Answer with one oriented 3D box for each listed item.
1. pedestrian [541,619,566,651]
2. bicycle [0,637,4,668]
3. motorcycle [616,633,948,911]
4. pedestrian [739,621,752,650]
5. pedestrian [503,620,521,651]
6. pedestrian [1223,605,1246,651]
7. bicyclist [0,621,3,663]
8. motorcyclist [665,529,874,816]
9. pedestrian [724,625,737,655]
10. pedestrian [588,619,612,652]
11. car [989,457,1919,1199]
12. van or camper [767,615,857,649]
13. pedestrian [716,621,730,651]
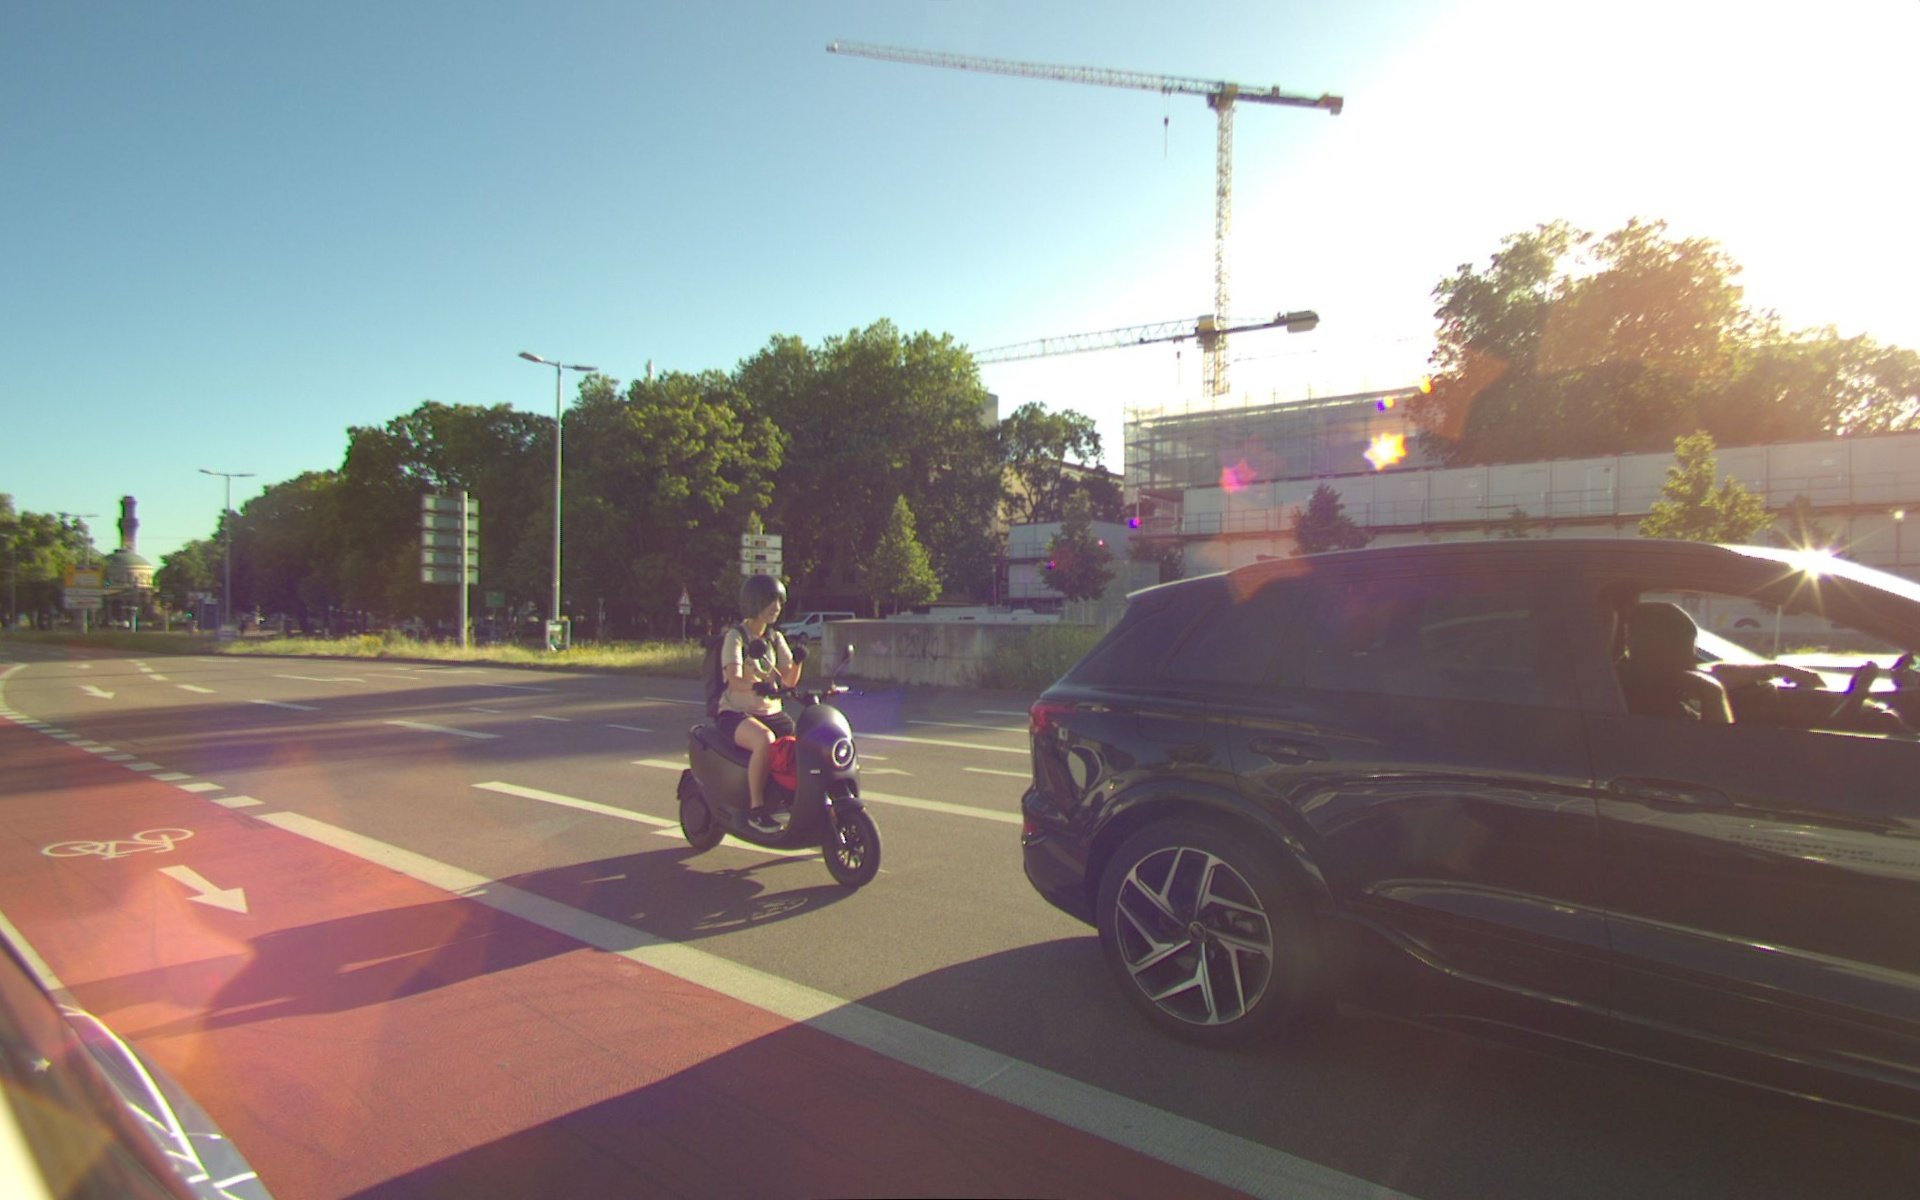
[{"bbox_3d":[-25.485,2.188,63.460,1.054,1.978,0.942,-1,0,26],"label":"pedestrian"},{"bbox_3d":[-39.250,2.124,40.925,1.505,1.201,0.680,-1,-2,41],"label":"bicycle"},{"bbox_3d":[-1.059,0.843,5.730,1.943,1.290,0.817,-1,-2,41],"label":"motorcycle"},{"bbox_3d":[-11.258,1.861,53.162,0.494,1.522,0.492,-1,-2,41],"label":"pedestrian"},{"bbox_3d":[-29.622,2.352,66.931,0.827,2.029,0.958,-1,0,-6],"label":"pedestrian"},{"bbox_3d":[9.823,1.002,36.226,0.597,1.614,0.580,-1,0,38],"label":"pedestrian"},{"bbox_3d":[-39.229,1.696,40.922,0.877,1.671,0.666,-1,-2,41],"label":"bicyclist"},{"bbox_3d":[-1.086,0.384,5.795,0.877,1.475,0.813,-1,-2,41],"label":"motorcyclist"},{"bbox_3d":[-11.892,2.059,52.467,0.494,1.522,0.492,-1,-2,41],"label":"pedestrian"},{"bbox_3d":[-21.719,2.125,61.099,0.815,1.978,1.111,-1,0,41],"label":"pedestrian"},{"bbox_3d":[2.582,0.550,3.150,4.661,1.720,2.143,-1,-1,40],"label":"car"},{"bbox_3d":[-8.967,1.929,61.891,1.951,1.960,5.425,-2,-2,44],"label":"van or camper"},{"bbox_3d":[-12.139,1.852,51.823,0.494,1.522,0.492,-1,-2,41],"label":"pedestrian"}]
